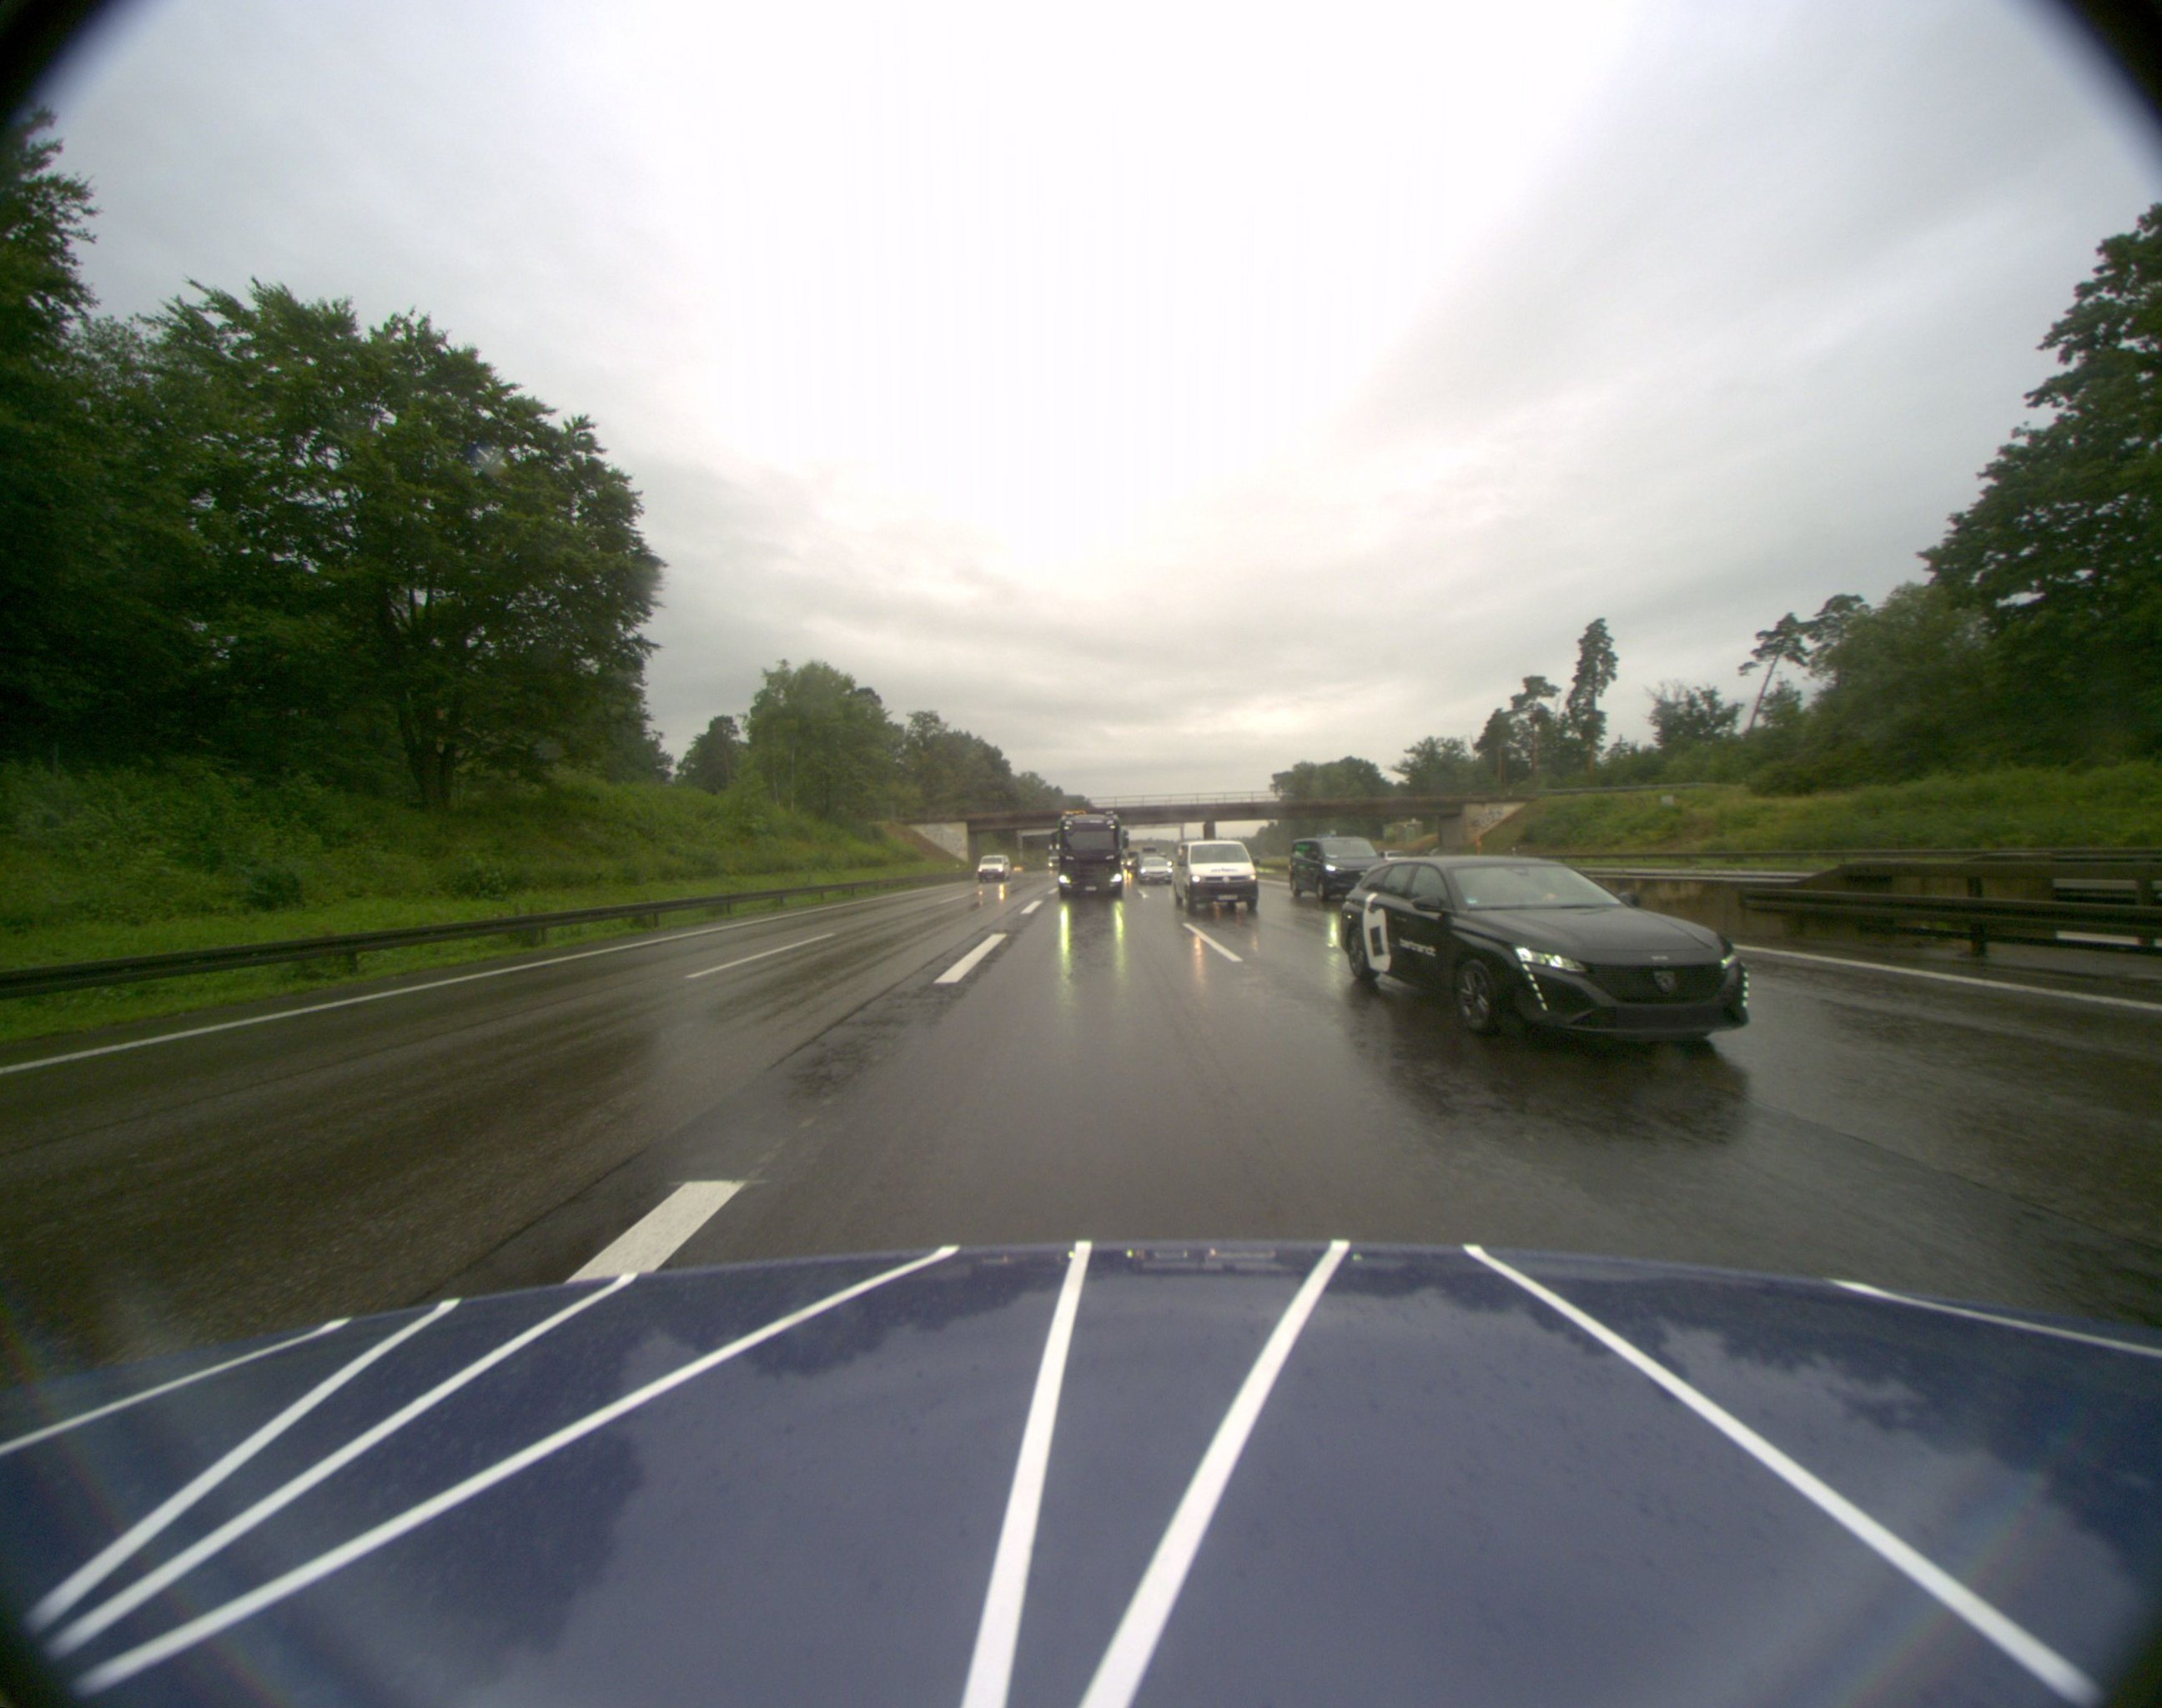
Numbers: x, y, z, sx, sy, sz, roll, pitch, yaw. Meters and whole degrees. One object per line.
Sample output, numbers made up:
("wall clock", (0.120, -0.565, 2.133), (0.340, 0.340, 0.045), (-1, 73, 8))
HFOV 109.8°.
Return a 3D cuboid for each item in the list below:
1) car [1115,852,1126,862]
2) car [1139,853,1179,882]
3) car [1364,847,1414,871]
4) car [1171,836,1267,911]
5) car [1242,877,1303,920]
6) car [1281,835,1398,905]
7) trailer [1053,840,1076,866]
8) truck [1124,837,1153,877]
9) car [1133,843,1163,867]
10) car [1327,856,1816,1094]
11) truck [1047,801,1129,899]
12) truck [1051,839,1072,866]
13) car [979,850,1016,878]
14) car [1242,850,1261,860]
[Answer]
("car", (8.330, 0.564, 159.618), (1.998, 2.002, 4.000), (-2, 0, 0))
("car", (4.351, 0.712, 42.931), (1.850, 1.496, 4.466), (-2, 0, 2))
("car", (20.755, 0.328, 51.387), (1.840, 1.489, 4.610), (-2, 0, 6))
("car", (3.863, 0.509, 22.087), (1.994, 1.869, 4.767), (-2, 0, 2))
("car", (9.851, 2.245, 39.465), (1.915, 1.852, 4.758), (-2, 1, -1))
("car", (8.002, 0.427, 24.121), (1.996, 1.932, 5.242), (-2, 0, 1))
("trailer", (-2.669, -0.212, 127.199), (2.559, 3.990, 13.716), (-2, 1, 3))
("truck", (6.000, 0.342, 80.109), (2.521, 3.941, 6.995), (-2, 0, 2))
("car", (4.770, 0.061, 54.781), (1.994, 1.551, 4.768), (-2, 0, 3))
("car", (3.951, 0.807, 7.236), (1.850, 1.495, 4.467), (-2, 0, 2))
("truck", (0.492, -0.220, 33.394), (2.879, 3.528, 10.911), (-2, 1, 2))
("truck", (-3.082, -0.281, 120.844), (2.608, 3.991, 6.012), (-3, 1, 2))
("car", (-6.222, 0.728, 57.198), (1.994, 1.910, 4.768), (-2, 0, 2))
("car", (23.837, 0.144, 106.390), (1.720, 1.382, 3.952), (-2, 0, 0))
